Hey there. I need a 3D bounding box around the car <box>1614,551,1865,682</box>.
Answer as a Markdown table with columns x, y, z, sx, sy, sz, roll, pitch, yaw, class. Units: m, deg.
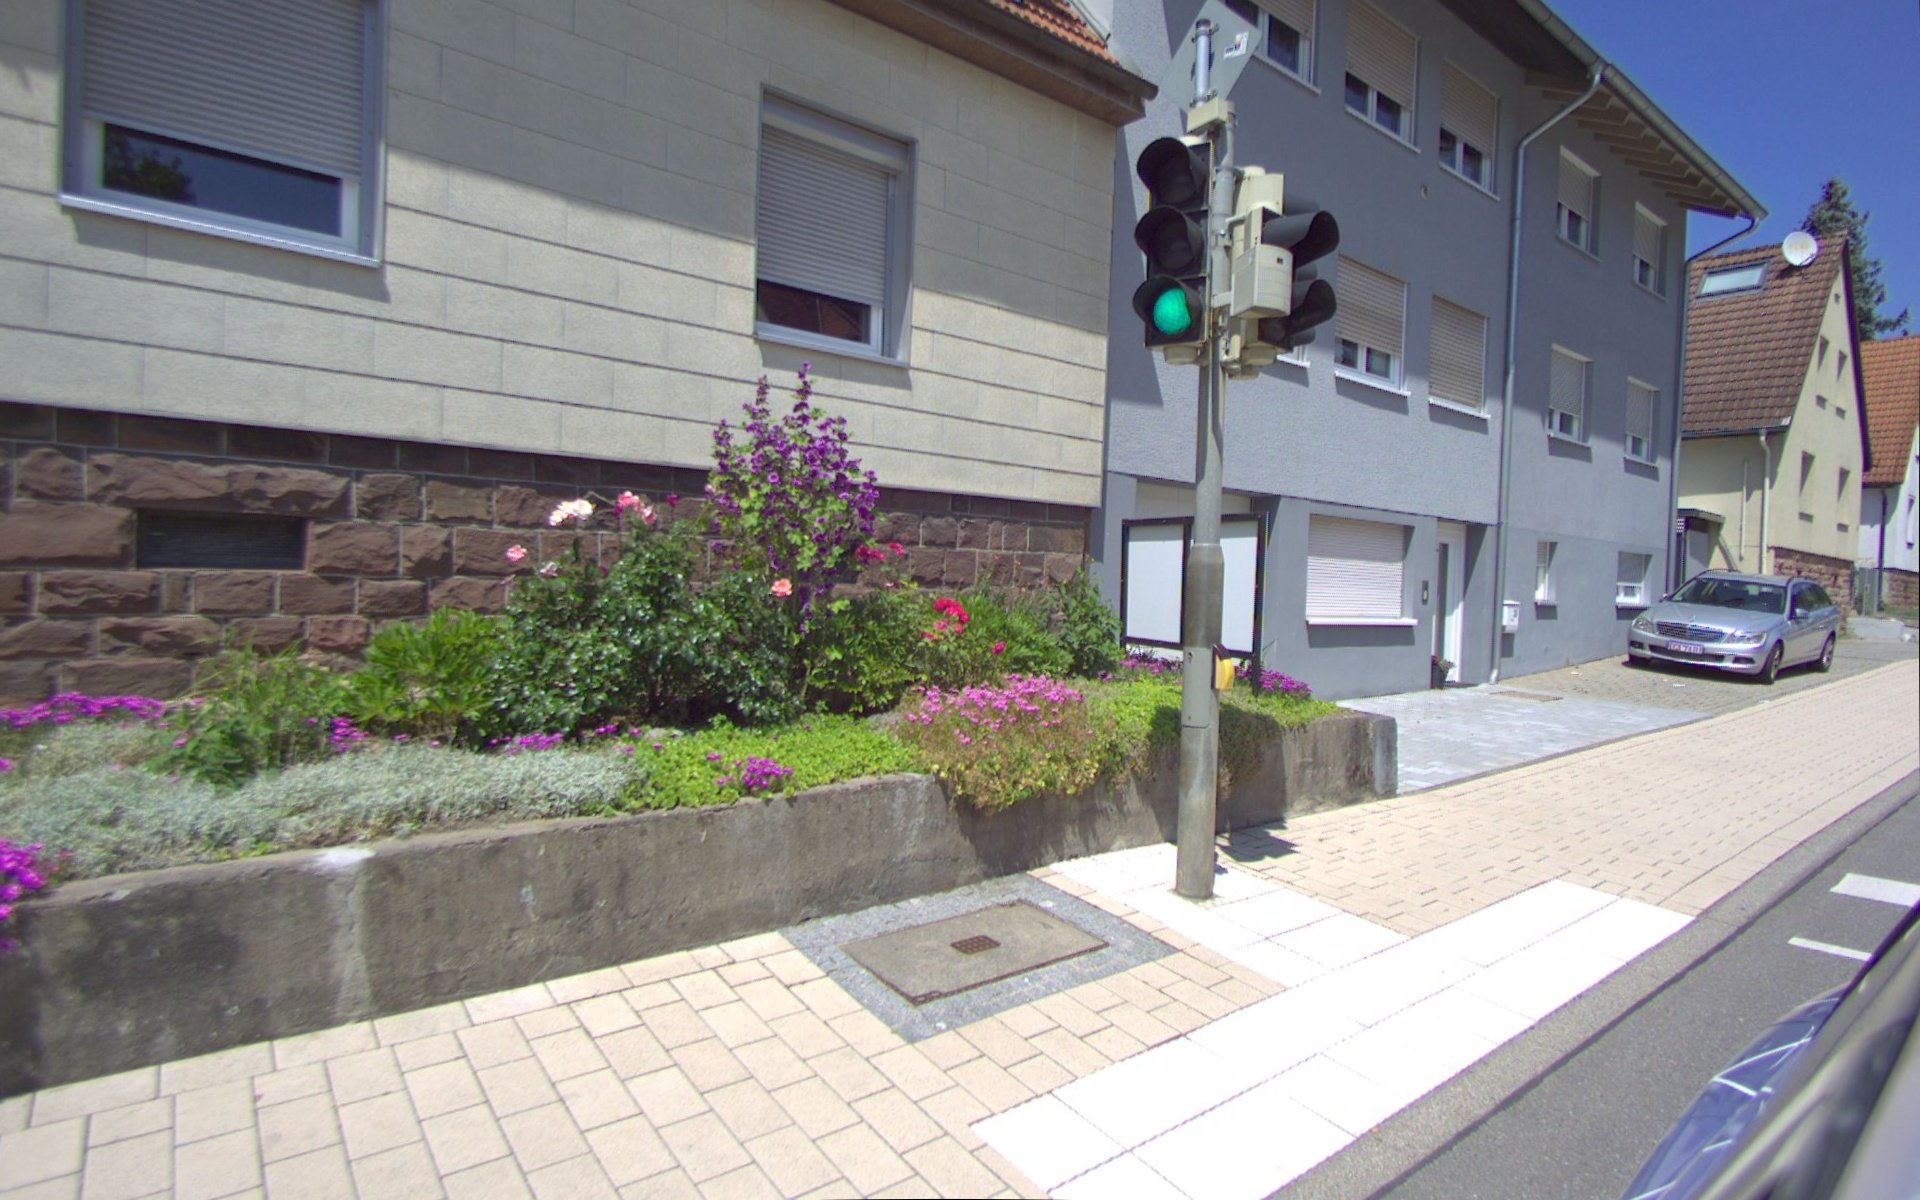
| x | y | z | sx | sy | sz | roll | pitch | yaw | class |
| --- | --- | --- | --- | --- | --- | --- | --- | --- | --- |
| 11.963 | 0.151 | 15.439 | 4.425 | 1.640 | 1.869 | -1 | 6 | -38 | car |
